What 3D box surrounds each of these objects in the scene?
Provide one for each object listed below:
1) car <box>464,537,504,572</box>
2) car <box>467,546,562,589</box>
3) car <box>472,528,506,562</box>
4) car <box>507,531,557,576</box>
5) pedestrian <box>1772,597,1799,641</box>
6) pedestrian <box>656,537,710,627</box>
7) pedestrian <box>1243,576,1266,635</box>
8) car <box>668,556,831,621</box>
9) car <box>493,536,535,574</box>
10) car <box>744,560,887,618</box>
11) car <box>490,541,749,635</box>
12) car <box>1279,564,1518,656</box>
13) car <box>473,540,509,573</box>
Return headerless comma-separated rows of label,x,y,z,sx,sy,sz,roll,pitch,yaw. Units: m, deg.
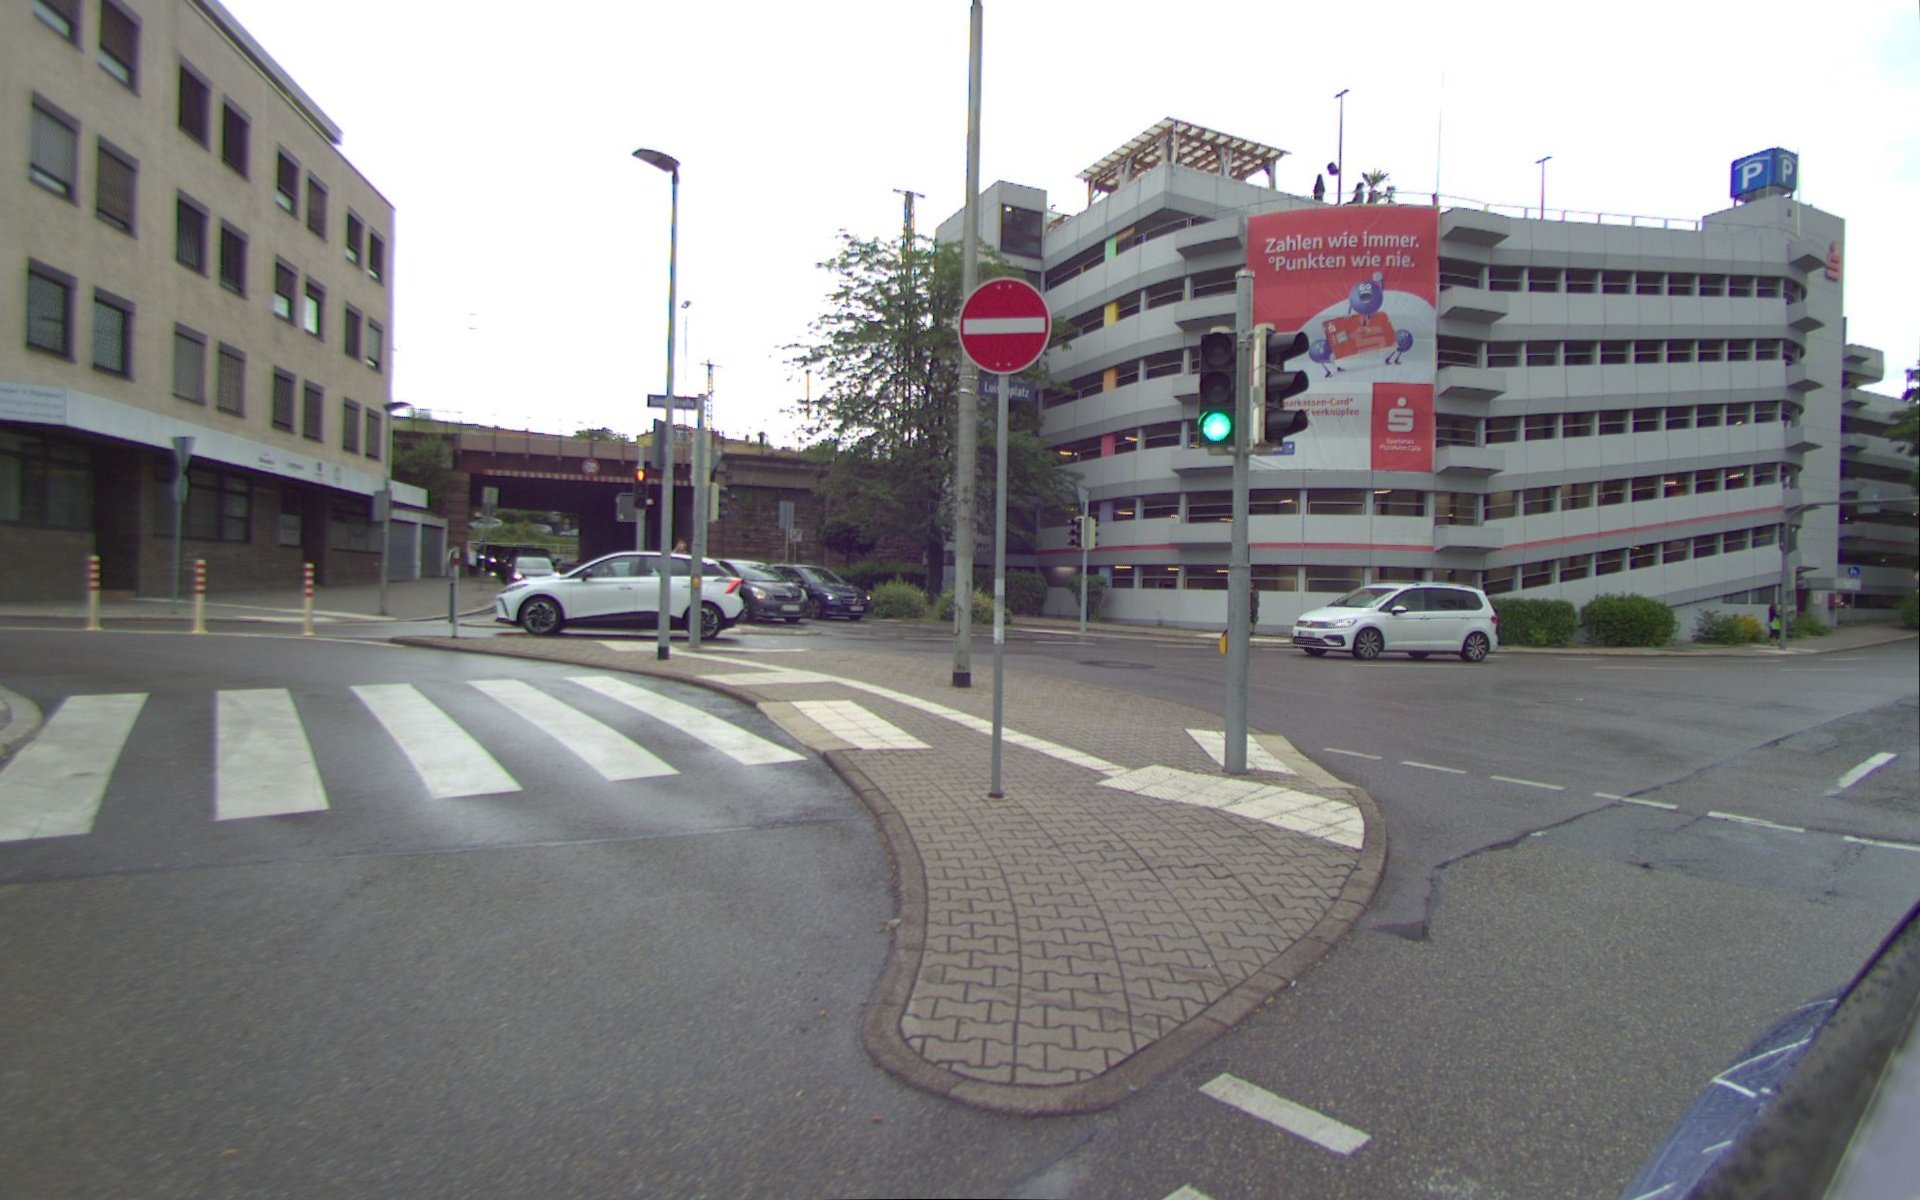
car,-27.045,-2.542,57.604,1.958,1.805,4.171,0,0,-24
car,-17.249,-1.281,39.077,1.966,1.462,4.476,0,3,-43
car,-31.761,-3.660,68.154,1.959,2.039,4.005,0,0,-27
car,-19.059,-2.001,45.001,1.958,1.805,4.171,0,0,-24
pedestrian,32.744,0.746,40.131,0.508,1.679,0.586,0,3,-23
pedestrian,-5.722,-0.366,20.885,0.762,1.814,0.856,0,-1,-44
pedestrian,9.902,0.180,34.034,0.536,1.913,0.506,4,2,10
car,-5.666,-0.352,27.000,4.468,1.462,1.970,4,3,42
car,-23.374,-2.306,53.063,1.958,1.805,4.171,0,0,-24
car,-4.339,-0.372,29.945,1.966,1.462,4.476,0,3,-43
car,-5.900,-0.164,17.911,4.120,1.497,1.809,1,-1,-15
car,9.221,0.206,21.382,4.307,1.748,2.005,2,1,-16
car,-28.738,-2.641,62.128,1.958,1.805,4.171,0,0,-24
